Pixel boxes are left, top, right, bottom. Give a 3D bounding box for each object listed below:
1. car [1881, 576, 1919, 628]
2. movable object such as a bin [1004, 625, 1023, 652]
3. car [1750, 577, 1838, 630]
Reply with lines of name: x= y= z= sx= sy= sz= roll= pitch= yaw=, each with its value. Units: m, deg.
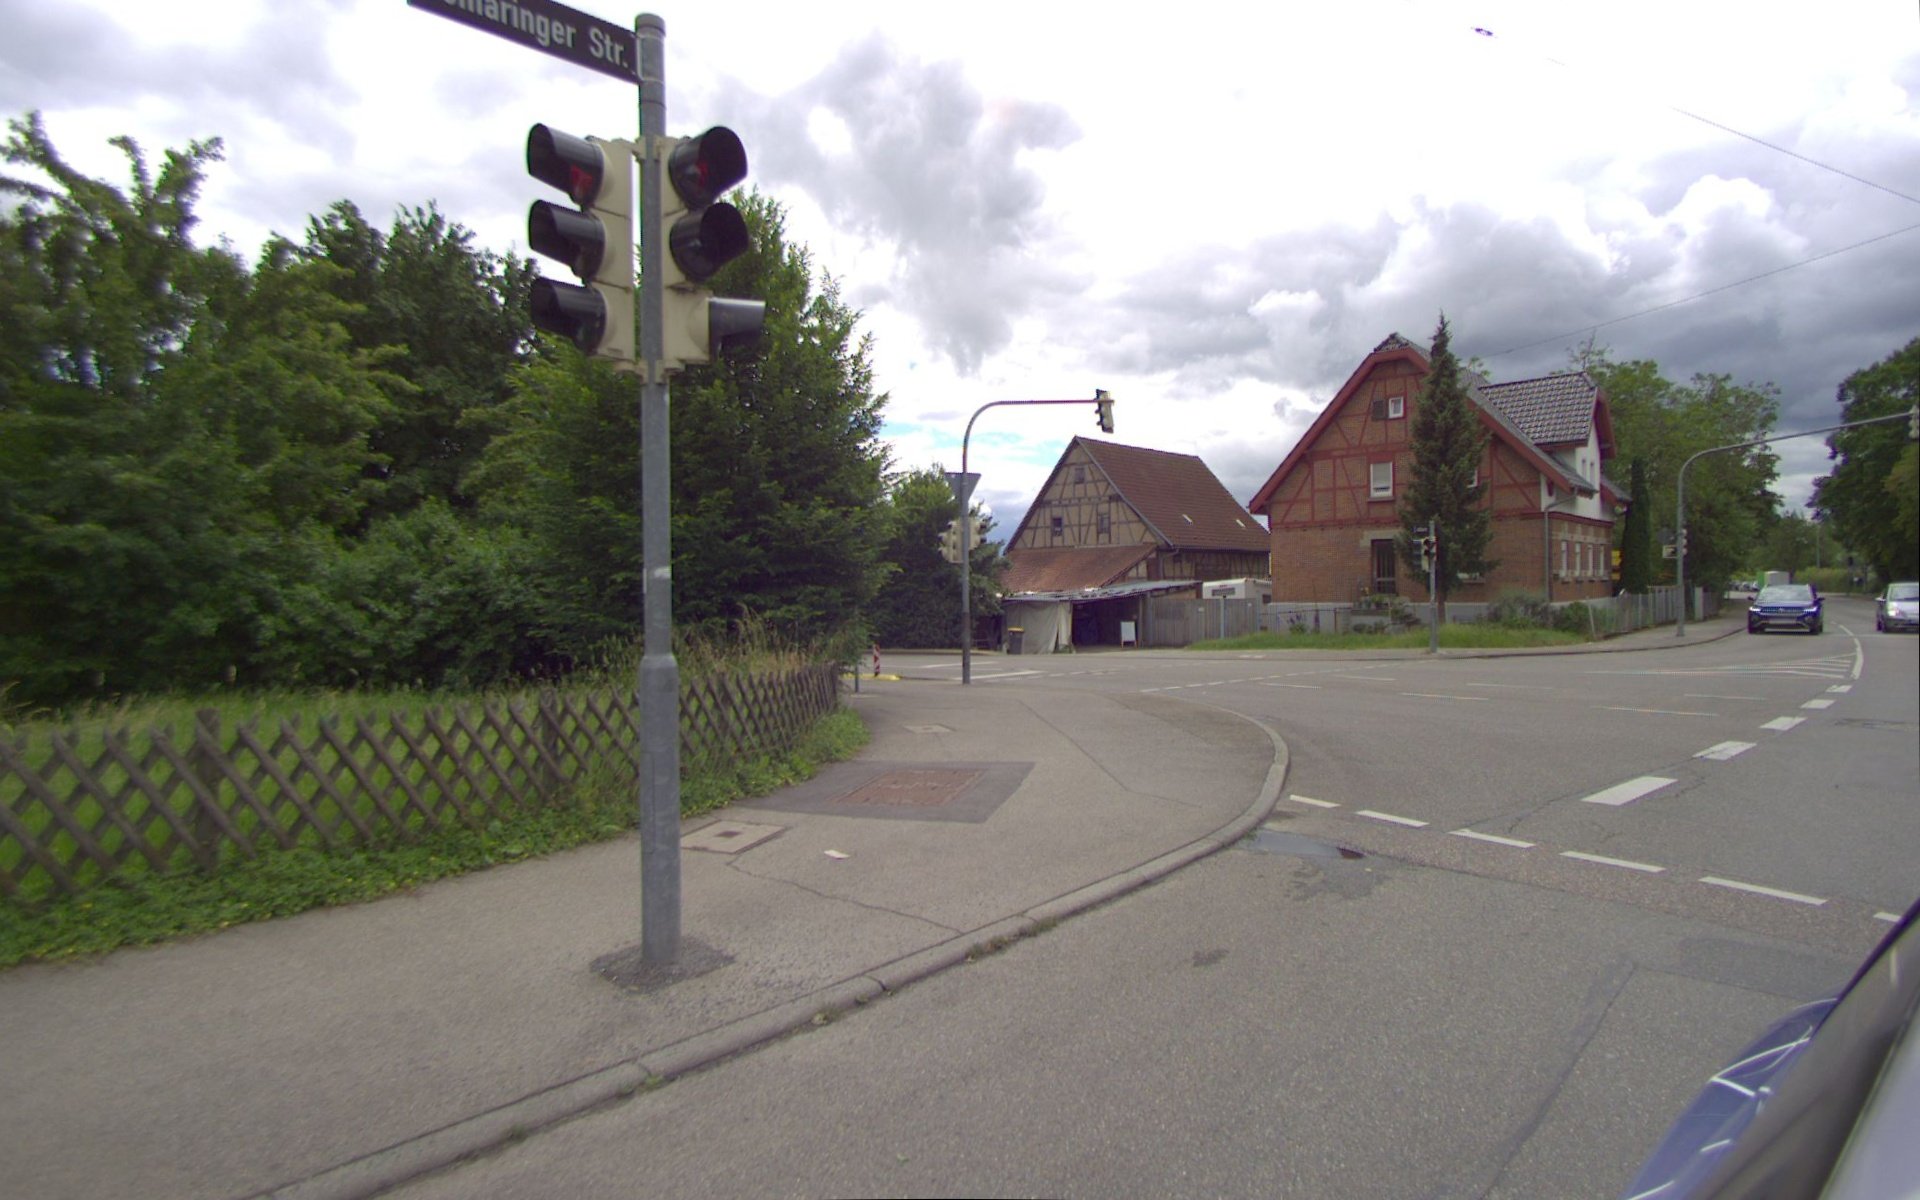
car: x=30.773 y=0.016 z=32.181 sx=1.770 sy=1.538 sz=3.511 roll=-2 pitch=0 yaw=37
movable object such as a bin: x=1.901 y=1.368 z=36.148 sx=0.581 sy=0.918 sz=0.603 roll=-1 pitch=0 yaw=-6
car: x=26.758 y=0.083 z=32.433 sx=1.921 sy=1.537 sz=3.938 roll=-1 pitch=1 yaw=43
